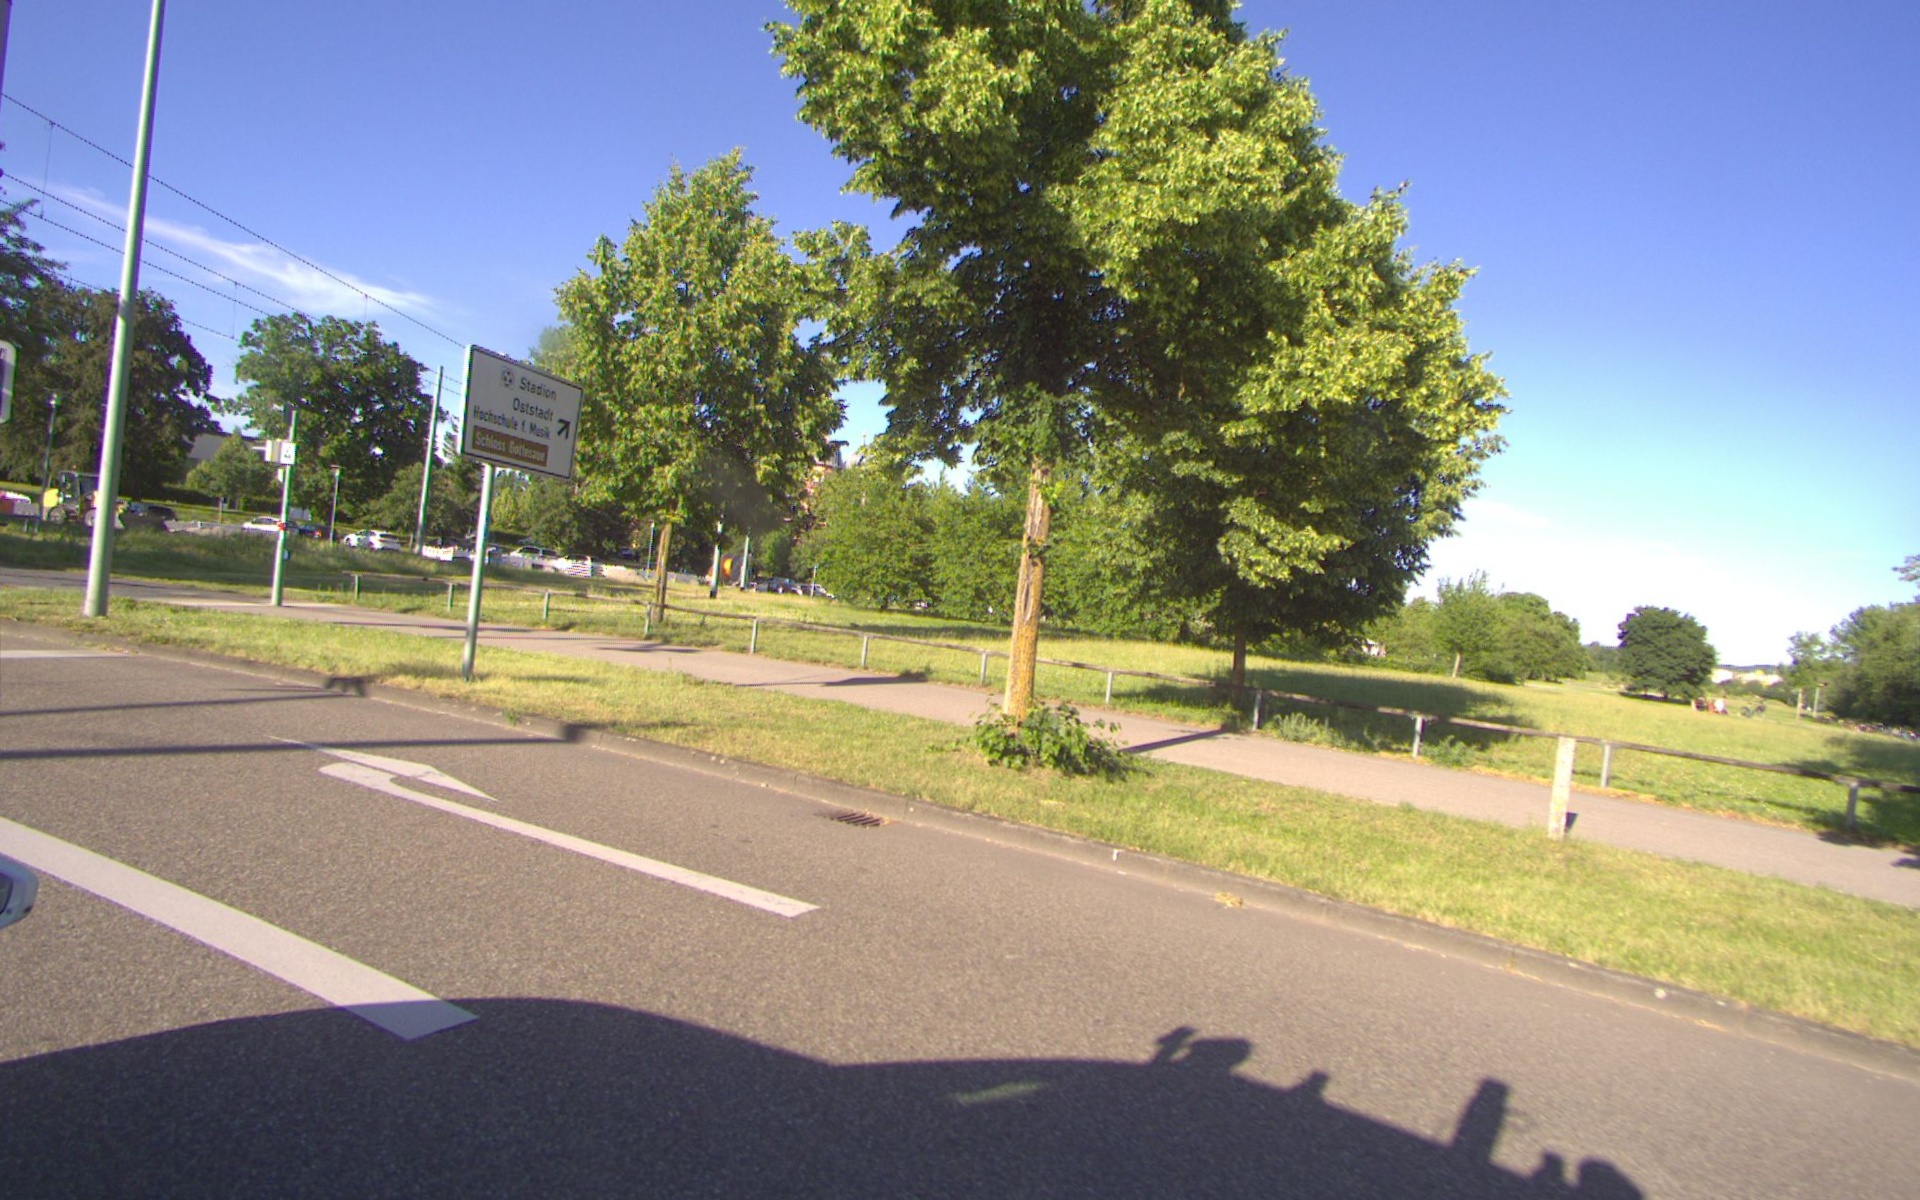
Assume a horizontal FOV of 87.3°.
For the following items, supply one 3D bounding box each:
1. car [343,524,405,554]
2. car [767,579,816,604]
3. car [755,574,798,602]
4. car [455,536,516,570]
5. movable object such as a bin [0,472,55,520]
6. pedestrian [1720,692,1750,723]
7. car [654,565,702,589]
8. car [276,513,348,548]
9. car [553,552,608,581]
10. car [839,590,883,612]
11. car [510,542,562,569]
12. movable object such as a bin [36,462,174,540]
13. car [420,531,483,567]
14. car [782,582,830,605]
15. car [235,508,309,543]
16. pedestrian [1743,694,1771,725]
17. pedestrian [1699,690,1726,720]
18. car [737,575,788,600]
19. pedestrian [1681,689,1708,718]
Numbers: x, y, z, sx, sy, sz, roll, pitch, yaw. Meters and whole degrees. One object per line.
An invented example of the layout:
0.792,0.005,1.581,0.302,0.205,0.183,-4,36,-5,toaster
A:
-39.681,-4.137,68.108,3.741,1.575,1.831,5,-1,28,car
-15.408,-0.777,91.988,3.929,1.777,1.913,5,-1,26,car
-19.873,-1.301,109.145,3.929,2.685,1.999,5,-1,26,car
-35.818,-3.520,75.947,3.929,2.125,1.999,5,-1,26,car
-46.820,-5.203,47.904,2.198,1.971,5.024,5,-2,18,movable object such as a bin
40.663,5.638,52.781,0.783,1.458,0.770,7,1,-19,pedestrian
-26.837,-2.186,95.631,3.929,1.919,1.999,5,-1,26,car
-41.541,-4.460,64.464,3.929,1.790,1.999,5,-1,26,car
-32.000,-2.848,84.796,3.929,1.983,1.999,5,-1,26,car
-10.066,0.081,102.552,3.929,1.777,1.913,5,-1,26,car
-33.876,-3.571,80.328,3.782,1.801,1.692,5,-1,29,car
-37.805,-4.369,44.508,4.952,2.822,2.001,5,-1,15,movable object such as a bin
-37.012,-3.721,73.266,3.929,2.125,1.999,5,-1,26,car
-14.388,-0.605,94.281,3.929,1.777,1.913,5,-1,26,car
-42.895,-4.634,62.719,3.929,1.744,1.999,5,-1,26,car
40.787,5.613,51.468,0.783,1.458,0.659,7,1,-19,pedestrian
40.051,5.598,53.552,0.783,1.458,0.684,7,1,-19,pedestrian
-17.443,-1.075,88.937,3.929,1.777,1.999,5,-1,26,car
39.990,5.627,54.762,0.783,1.458,0.684,7,1,-19,pedestrian
